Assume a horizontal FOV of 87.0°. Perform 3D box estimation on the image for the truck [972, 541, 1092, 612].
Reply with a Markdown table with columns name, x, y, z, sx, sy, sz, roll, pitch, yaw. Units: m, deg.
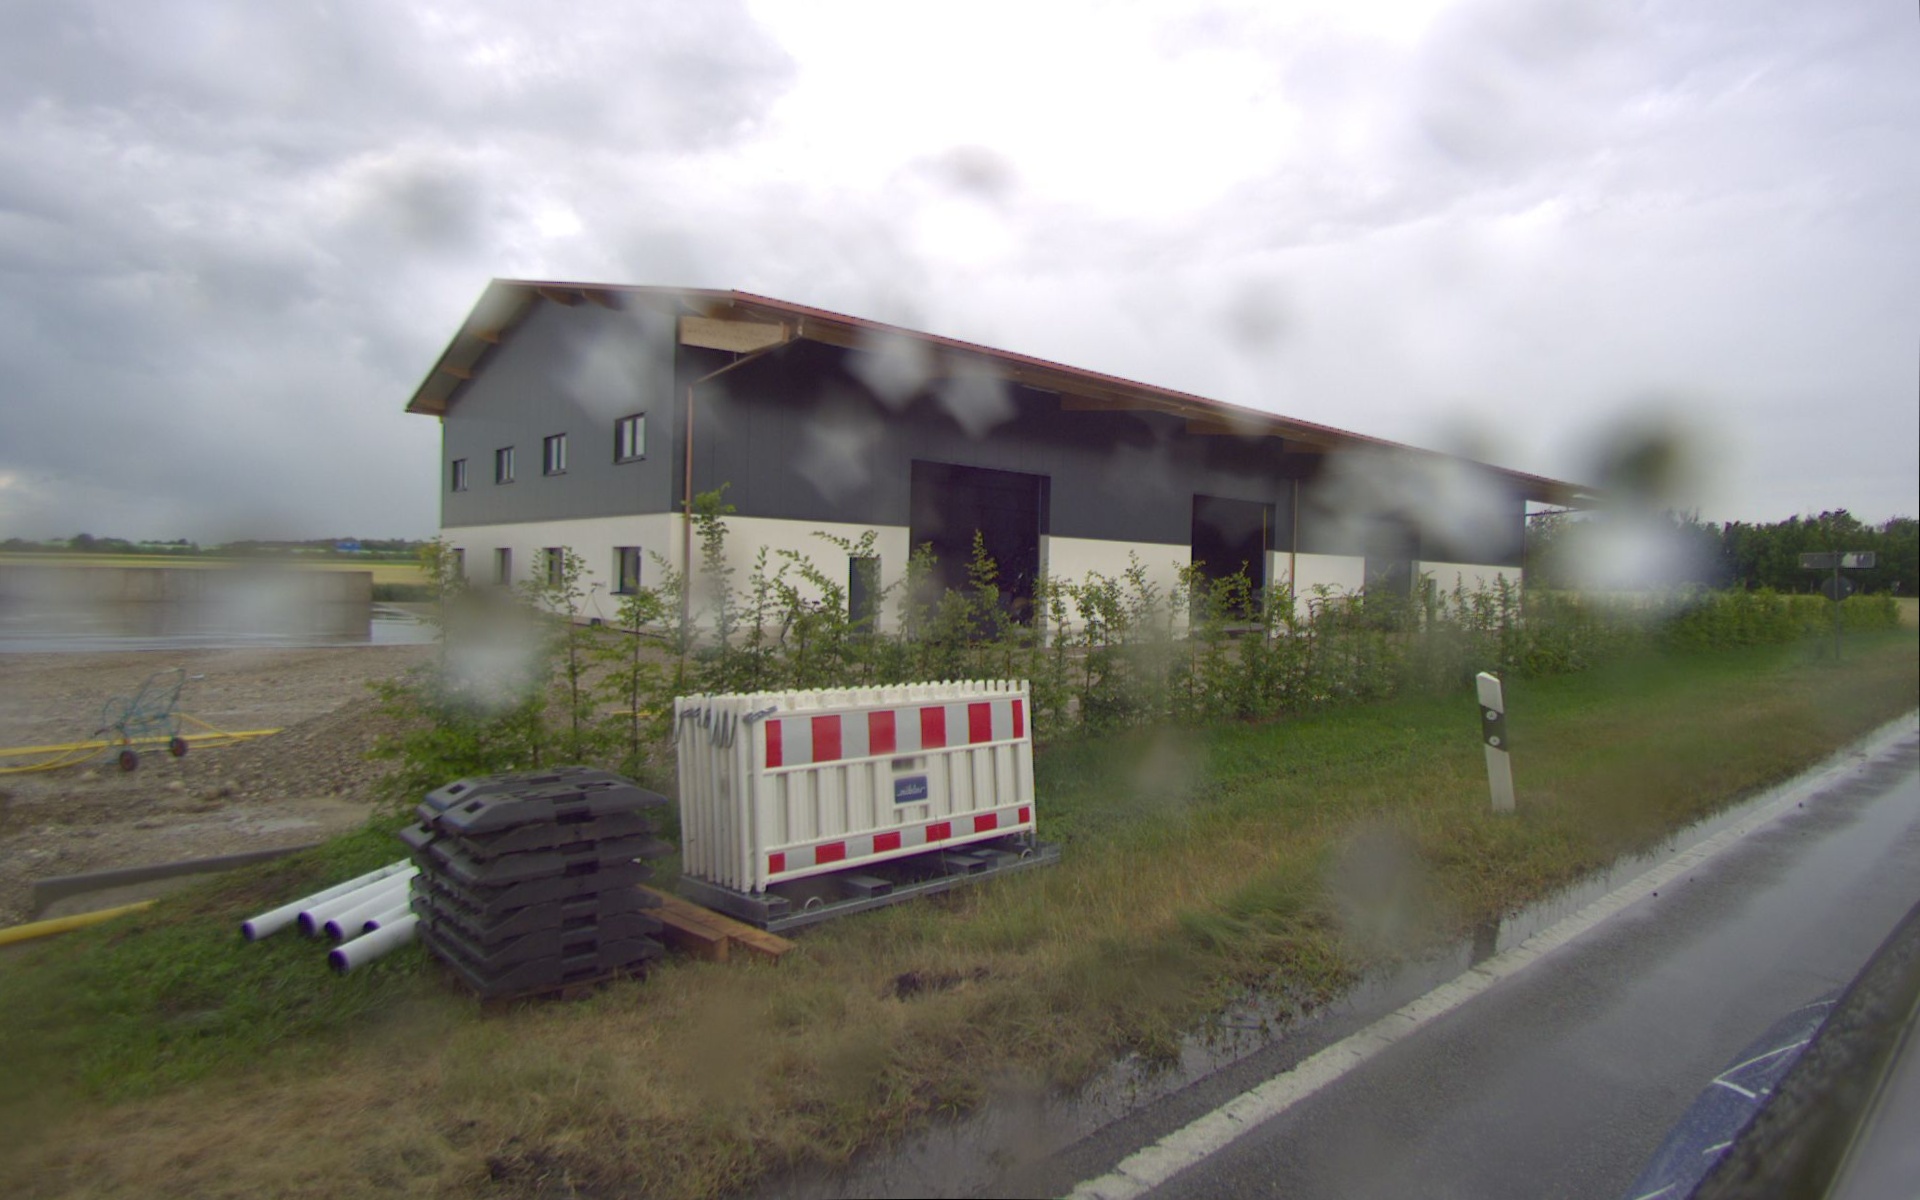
| name | x | y | z | sx | sy | sz | roll | pitch | yaw |
| --- | --- | --- | --- | --- | --- | --- | --- | --- | --- |
| truck | 3.338 | -1.063 | 46.269 | 5.250 | 3.050 | 2.495 | 0 | 2 | -41 |

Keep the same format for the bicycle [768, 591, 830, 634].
| name | x | y | z | sx | sy | sz | roll | pitch | yaw |
| --- | --- | --- | --- | --- | --- | --- | --- | --- | --- |
| bicycle | -4.213 | 0.302 | 26.546 | 1.631 | 1.085 | 0.391 | 0 | 2 | -41 |
